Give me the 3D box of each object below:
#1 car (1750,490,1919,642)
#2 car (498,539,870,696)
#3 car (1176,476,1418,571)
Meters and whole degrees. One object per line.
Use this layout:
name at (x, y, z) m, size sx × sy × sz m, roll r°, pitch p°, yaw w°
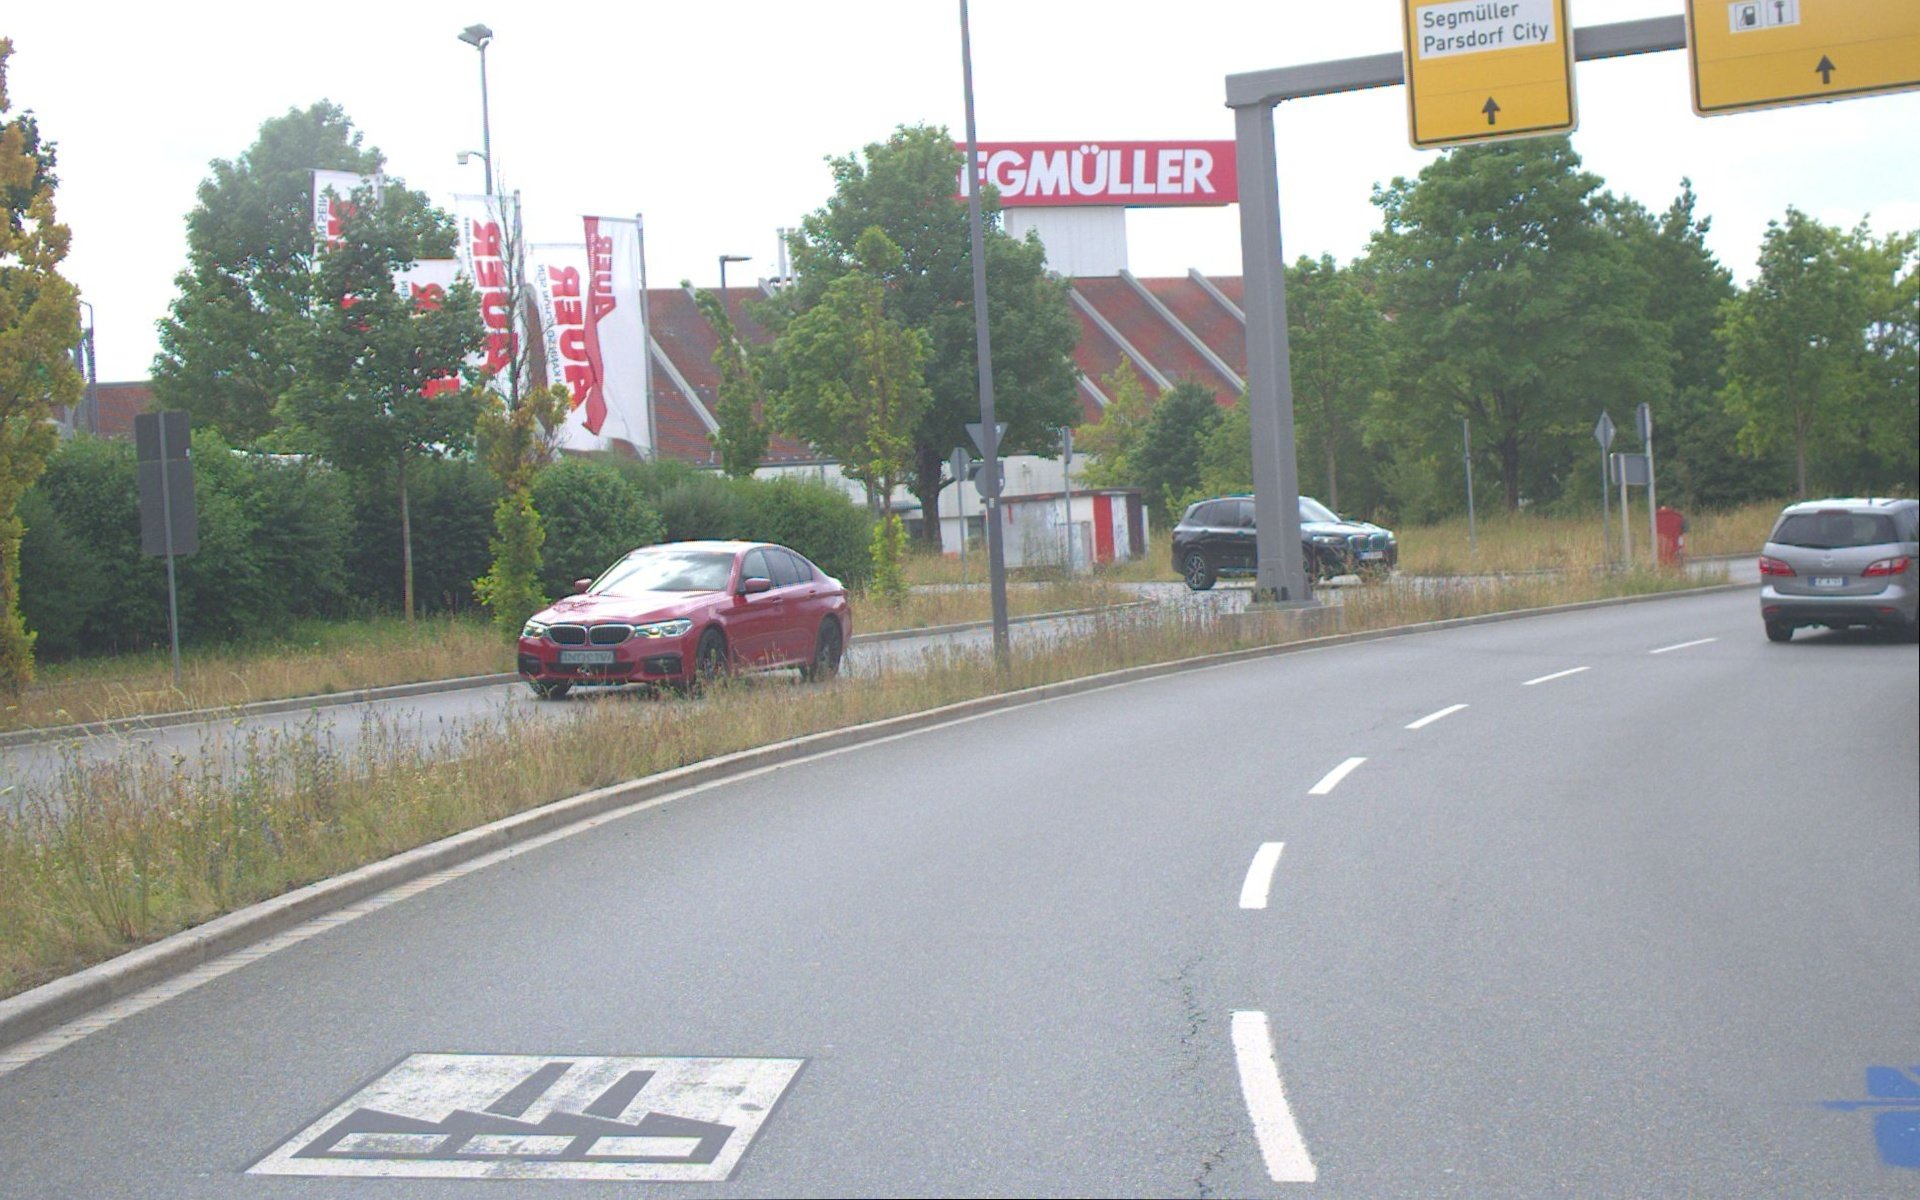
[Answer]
car at (10.440, -0.413, 39.267) m, size 1.770 × 1.611 × 3.916 m, roll -2°, pitch 1°, yaw 28°
car at (-2.663, 0.116, 34.511) m, size 1.793 × 1.442 × 4.967 m, roll 1°, pitch 1°, yaw 20°
car at (5.936, -1.332, 60.985) m, size 1.868 × 1.544 × 4.254 m, roll -3°, pitch 2°, yaw -36°
